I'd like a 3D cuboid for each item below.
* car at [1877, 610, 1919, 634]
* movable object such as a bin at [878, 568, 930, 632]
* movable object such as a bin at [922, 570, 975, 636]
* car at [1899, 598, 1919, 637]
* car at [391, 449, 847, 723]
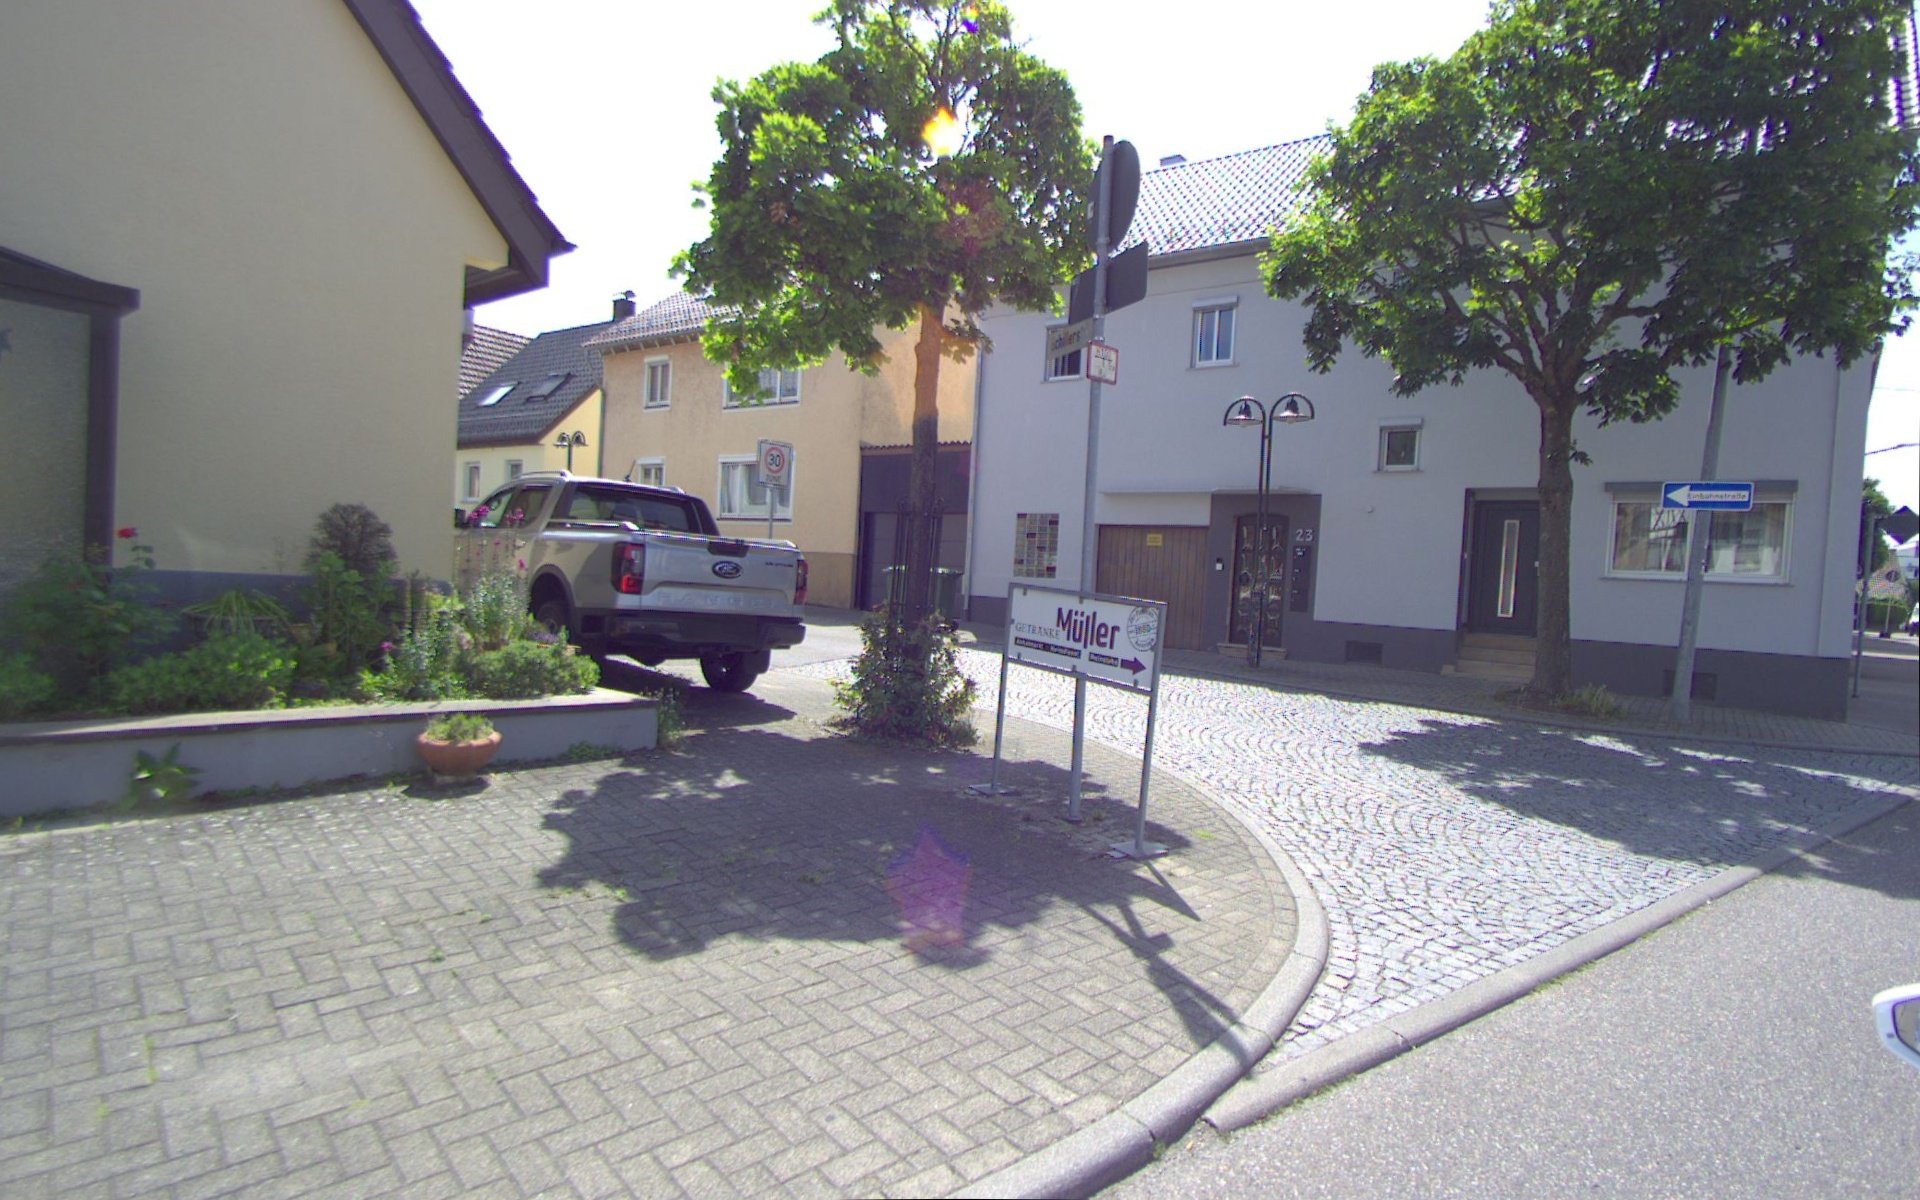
[{"bbox_3d":[89.566,2.136,95.432,4.878,2.041,2.118,2,2,-29],"label":"car"},{"bbox_3d":[-0.994,-0.001,17.898,0.638,1.087,0.626,4,3,34],"label":"movable object such as a bin"},{"bbox_3d":[-0.193,0.048,17.420,0.638,1.087,0.626,4,3,34],"label":"movable object such as a bin"},{"bbox_3d":[67.218,1.266,70.116,2.090,2.597,5.796,4,2,42],"label":"car"},{"bbox_3d":[-3.517,-0.228,9.626,2.161,1.922,5.054,1,3,-44],"label":"car"}]
